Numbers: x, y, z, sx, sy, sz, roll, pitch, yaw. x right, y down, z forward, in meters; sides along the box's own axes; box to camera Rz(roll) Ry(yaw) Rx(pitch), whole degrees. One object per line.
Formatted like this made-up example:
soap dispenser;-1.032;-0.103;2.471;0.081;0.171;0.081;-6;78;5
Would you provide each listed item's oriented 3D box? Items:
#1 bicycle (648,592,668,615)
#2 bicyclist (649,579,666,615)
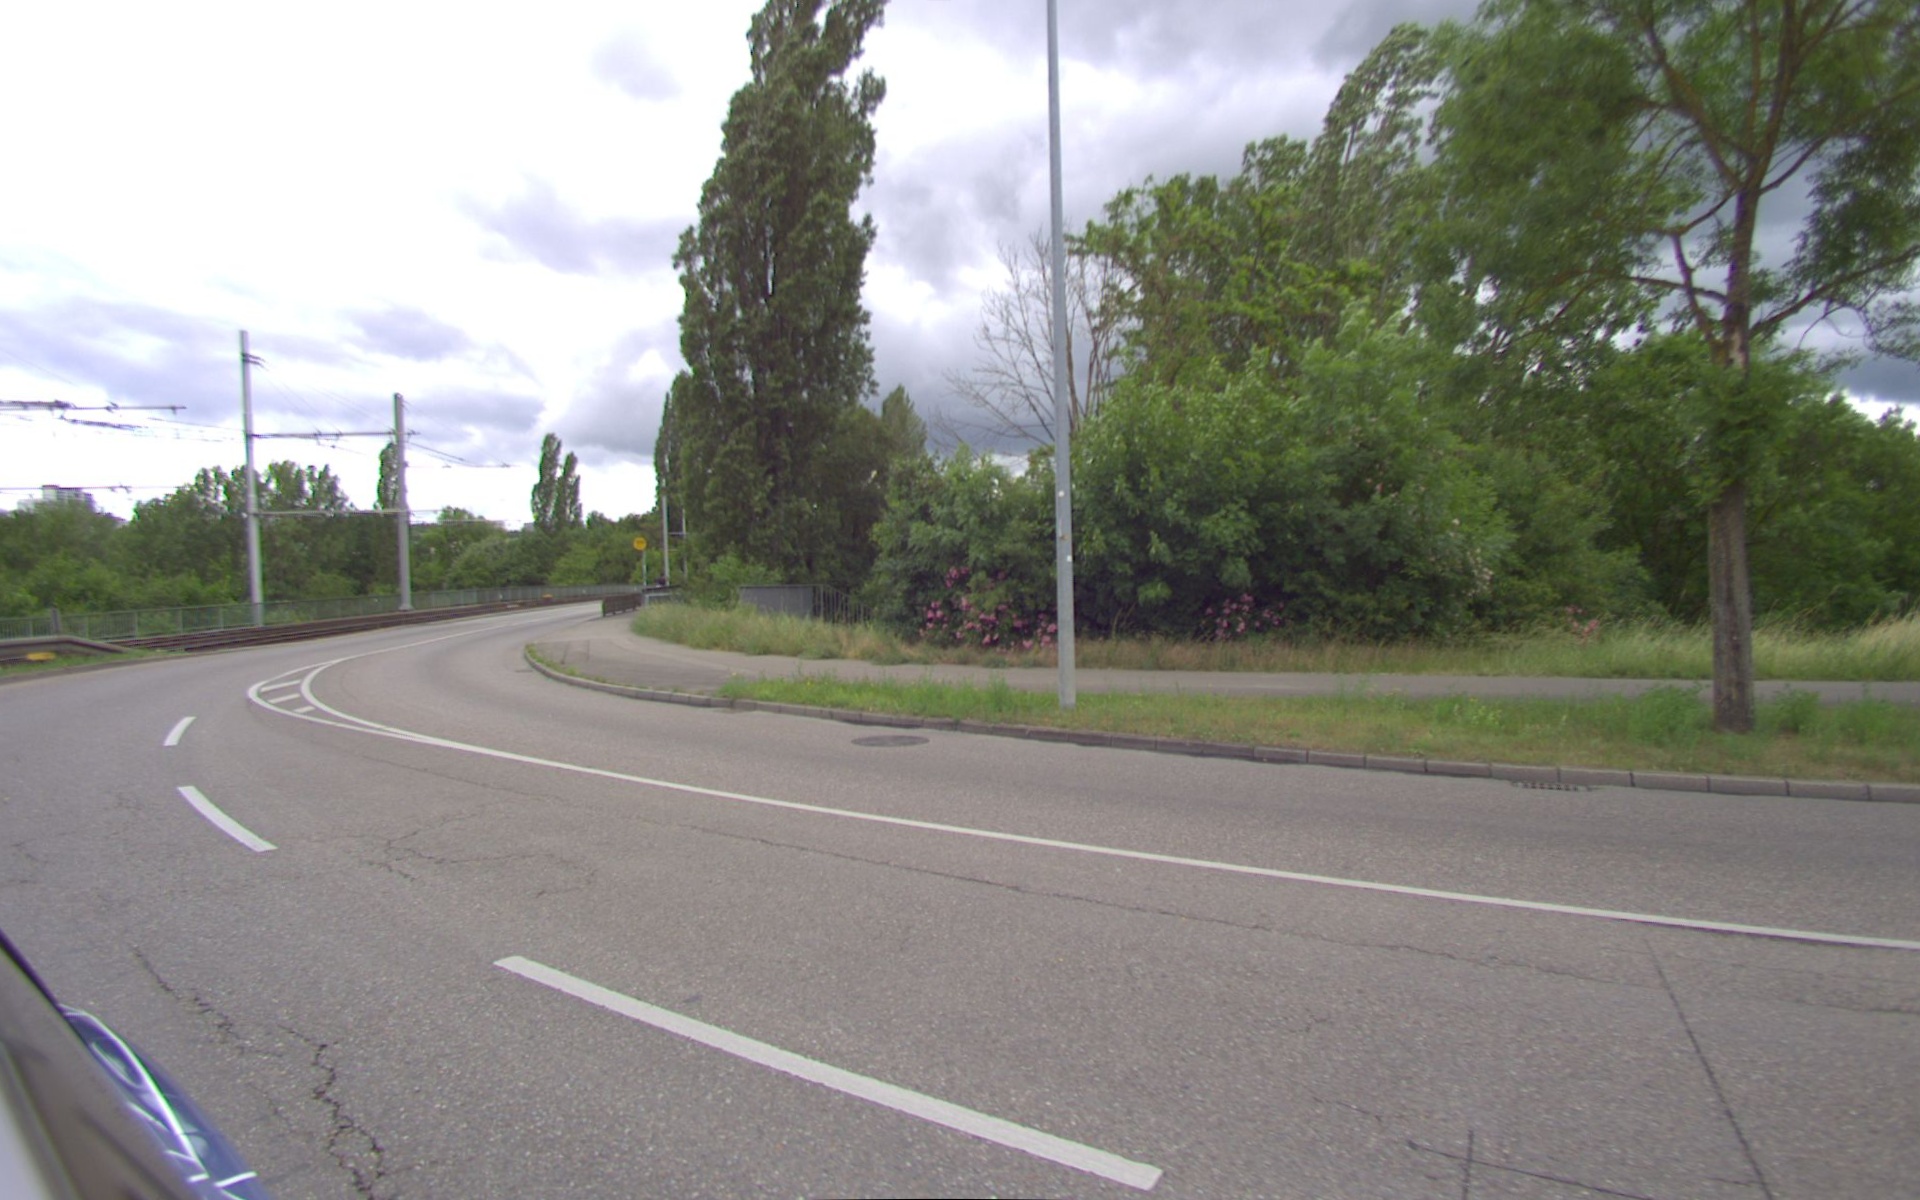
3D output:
bicycle;-15.844;0.178;53.101;0.726;1.079;1.885;-3;2;-9
bicyclist;-15.881;-0.178;53.128;0.619;1.822;0.903;-3;2;-9
